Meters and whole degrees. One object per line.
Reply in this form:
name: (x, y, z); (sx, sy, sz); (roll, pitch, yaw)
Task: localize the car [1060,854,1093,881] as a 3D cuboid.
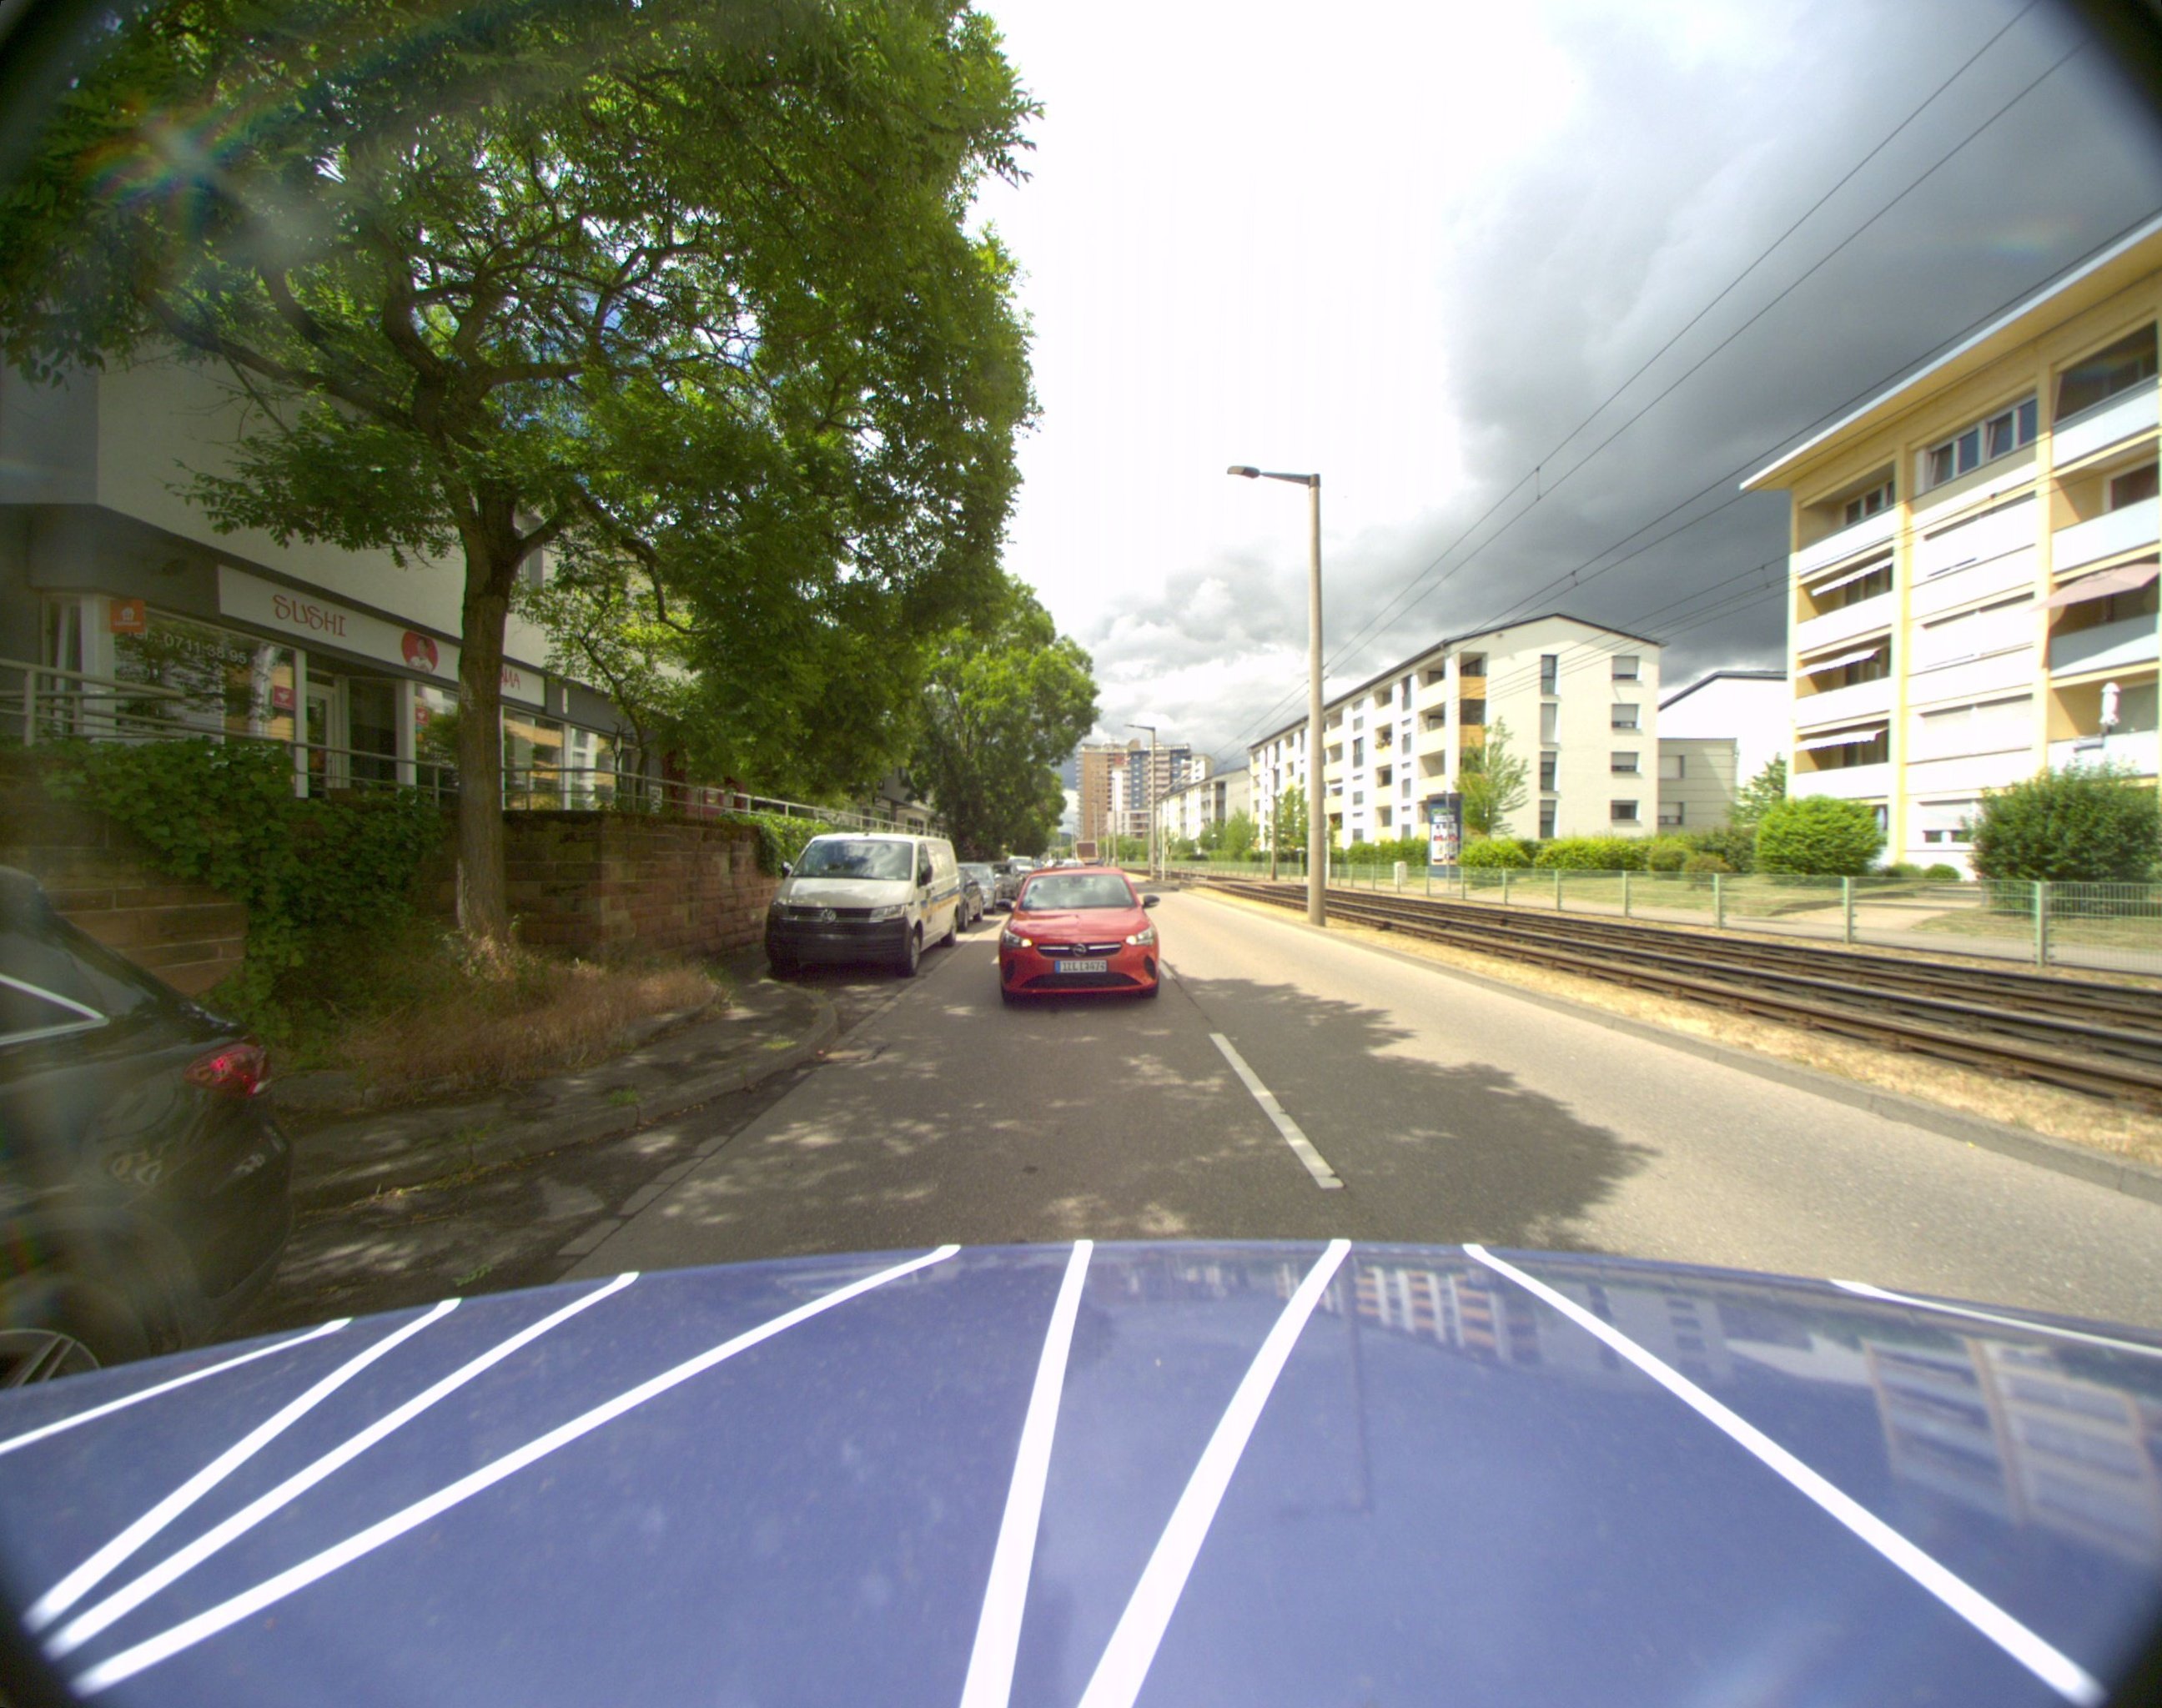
car: (-0.332, 0.824, 48.877); (1.927, 1.543, 3.999); (-2, 0, -2)

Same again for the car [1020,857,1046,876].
car: (-3.896, 0.983, 61.847); (1.784, 1.420, 4.147); (-1, 0, 0)

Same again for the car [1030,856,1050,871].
car: (-4.238, 0.982, 78.930); (1.784, 1.420, 4.147); (-1, 0, 0)

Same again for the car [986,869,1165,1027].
car: (-0.012, 0.961, 9.426); (1.723, 1.434, 4.000); (-1, 0, 1)

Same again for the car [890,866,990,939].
car: (-3.157, 1.038, 17.654); (1.578, 1.420, 3.734); (-1, 0, 0)

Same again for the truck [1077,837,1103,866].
truck: (1.085, -0.307, 92.804); (2.852, 3.428, 4.414); (-2, 0, -2)

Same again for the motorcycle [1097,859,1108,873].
motorcycle: (1.899, 1.094, 67.544); (0.783, 1.181, 1.869); (-1, 0, -1)

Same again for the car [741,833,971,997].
car: (-3.063, 0.733, 11.644); (1.978, 1.958, 5.013); (-1, 0, 0)

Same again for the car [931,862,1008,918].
car: (-3.217, 1.006, 22.661); (1.785, 1.420, 4.144); (2, 0, -2)

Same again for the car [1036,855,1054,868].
car: (-4.079, 0.879, 86.073); (1.784, 1.420, 4.147); (-1, 0, 0)

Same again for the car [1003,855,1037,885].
car: (-3.550, 0.895, 44.961); (1.819, 1.643, 4.146); (-1, 0, -2)

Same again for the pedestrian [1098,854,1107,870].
pedestrian: (1.888, 0.707, 67.532); (0.737, 1.408, 0.927); (-2, 1, -1)

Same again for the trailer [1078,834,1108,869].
trailer: (1.197, -0.295, 84.657); (2.875, 3.428, 14.613); (-2, 0, -1)

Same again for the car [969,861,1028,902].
car: (-3.135, 1.025, 29.586); (1.784, 1.420, 4.147); (-1, 0, 0)
